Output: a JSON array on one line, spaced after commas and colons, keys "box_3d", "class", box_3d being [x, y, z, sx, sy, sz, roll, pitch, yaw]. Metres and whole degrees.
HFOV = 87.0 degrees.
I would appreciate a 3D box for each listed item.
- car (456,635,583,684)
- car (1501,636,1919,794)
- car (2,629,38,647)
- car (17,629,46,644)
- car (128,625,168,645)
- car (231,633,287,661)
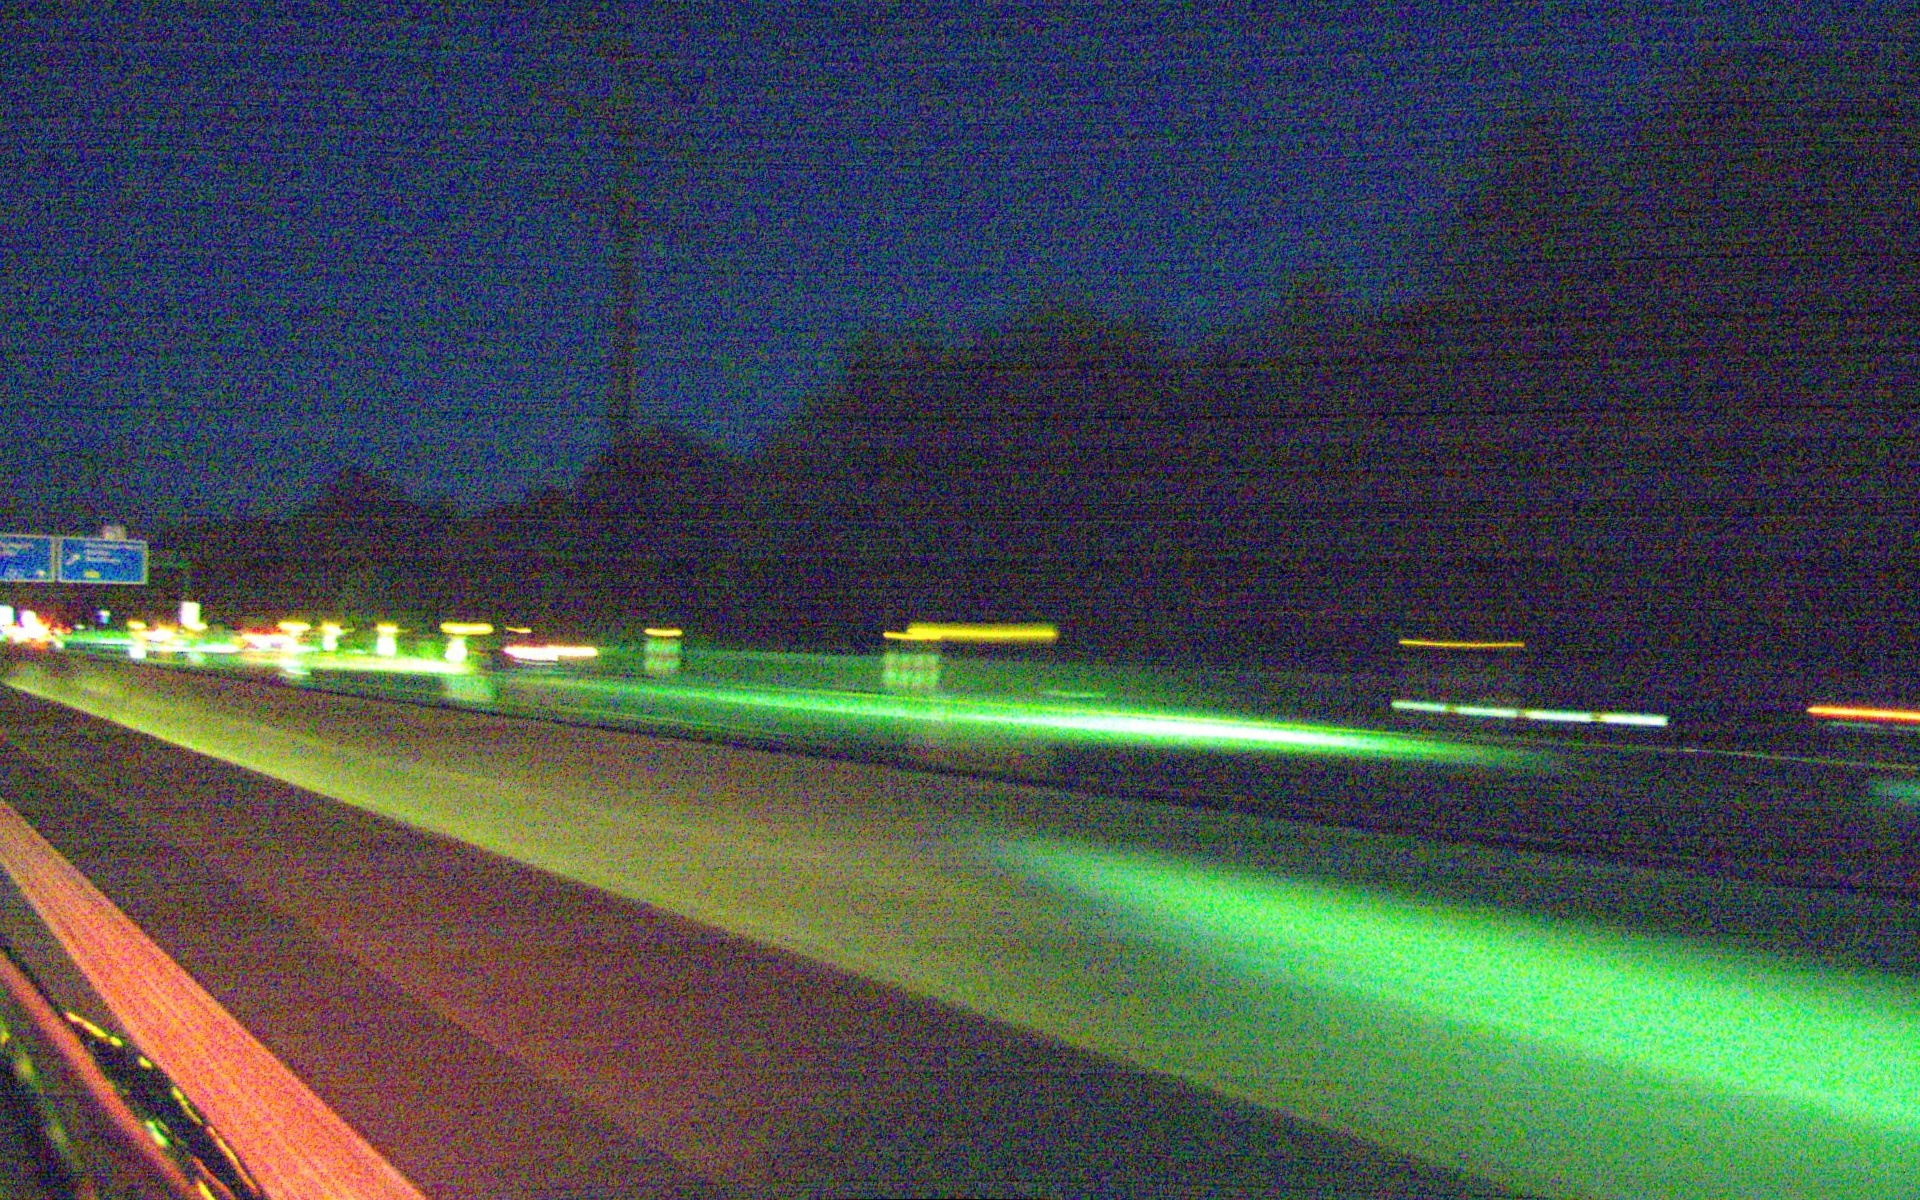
[{"box_3d": [-13.396, 1.763, 30.624, 4.808, 1.344, 1.644, -1, -3, 42], "class": "car"}, {"box_3d": [8.500, 1.110, 10.501, 4.874, 1.405, 1.615, -1, -3, 40], "class": "car"}, {"box_3d": [-78.893, 3.158, 84.875, 4.761, 1.490, 1.731, -1, -3, 42], "class": "car"}, {"box_3d": [-98.519, 3.836, 107.358, 4.940, 1.490, 1.732, -1, -3, 41], "class": "car"}, {"box_3d": [-63.281, 2.714, 78.800, 4.481, 1.490, 1.731, -1, -3, 43], "class": "car"}, {"box_3d": [-39.567, 2.619, 57.064, 4.728, 1.490, 1.730, -2, -3, 45], "class": "car"}]
